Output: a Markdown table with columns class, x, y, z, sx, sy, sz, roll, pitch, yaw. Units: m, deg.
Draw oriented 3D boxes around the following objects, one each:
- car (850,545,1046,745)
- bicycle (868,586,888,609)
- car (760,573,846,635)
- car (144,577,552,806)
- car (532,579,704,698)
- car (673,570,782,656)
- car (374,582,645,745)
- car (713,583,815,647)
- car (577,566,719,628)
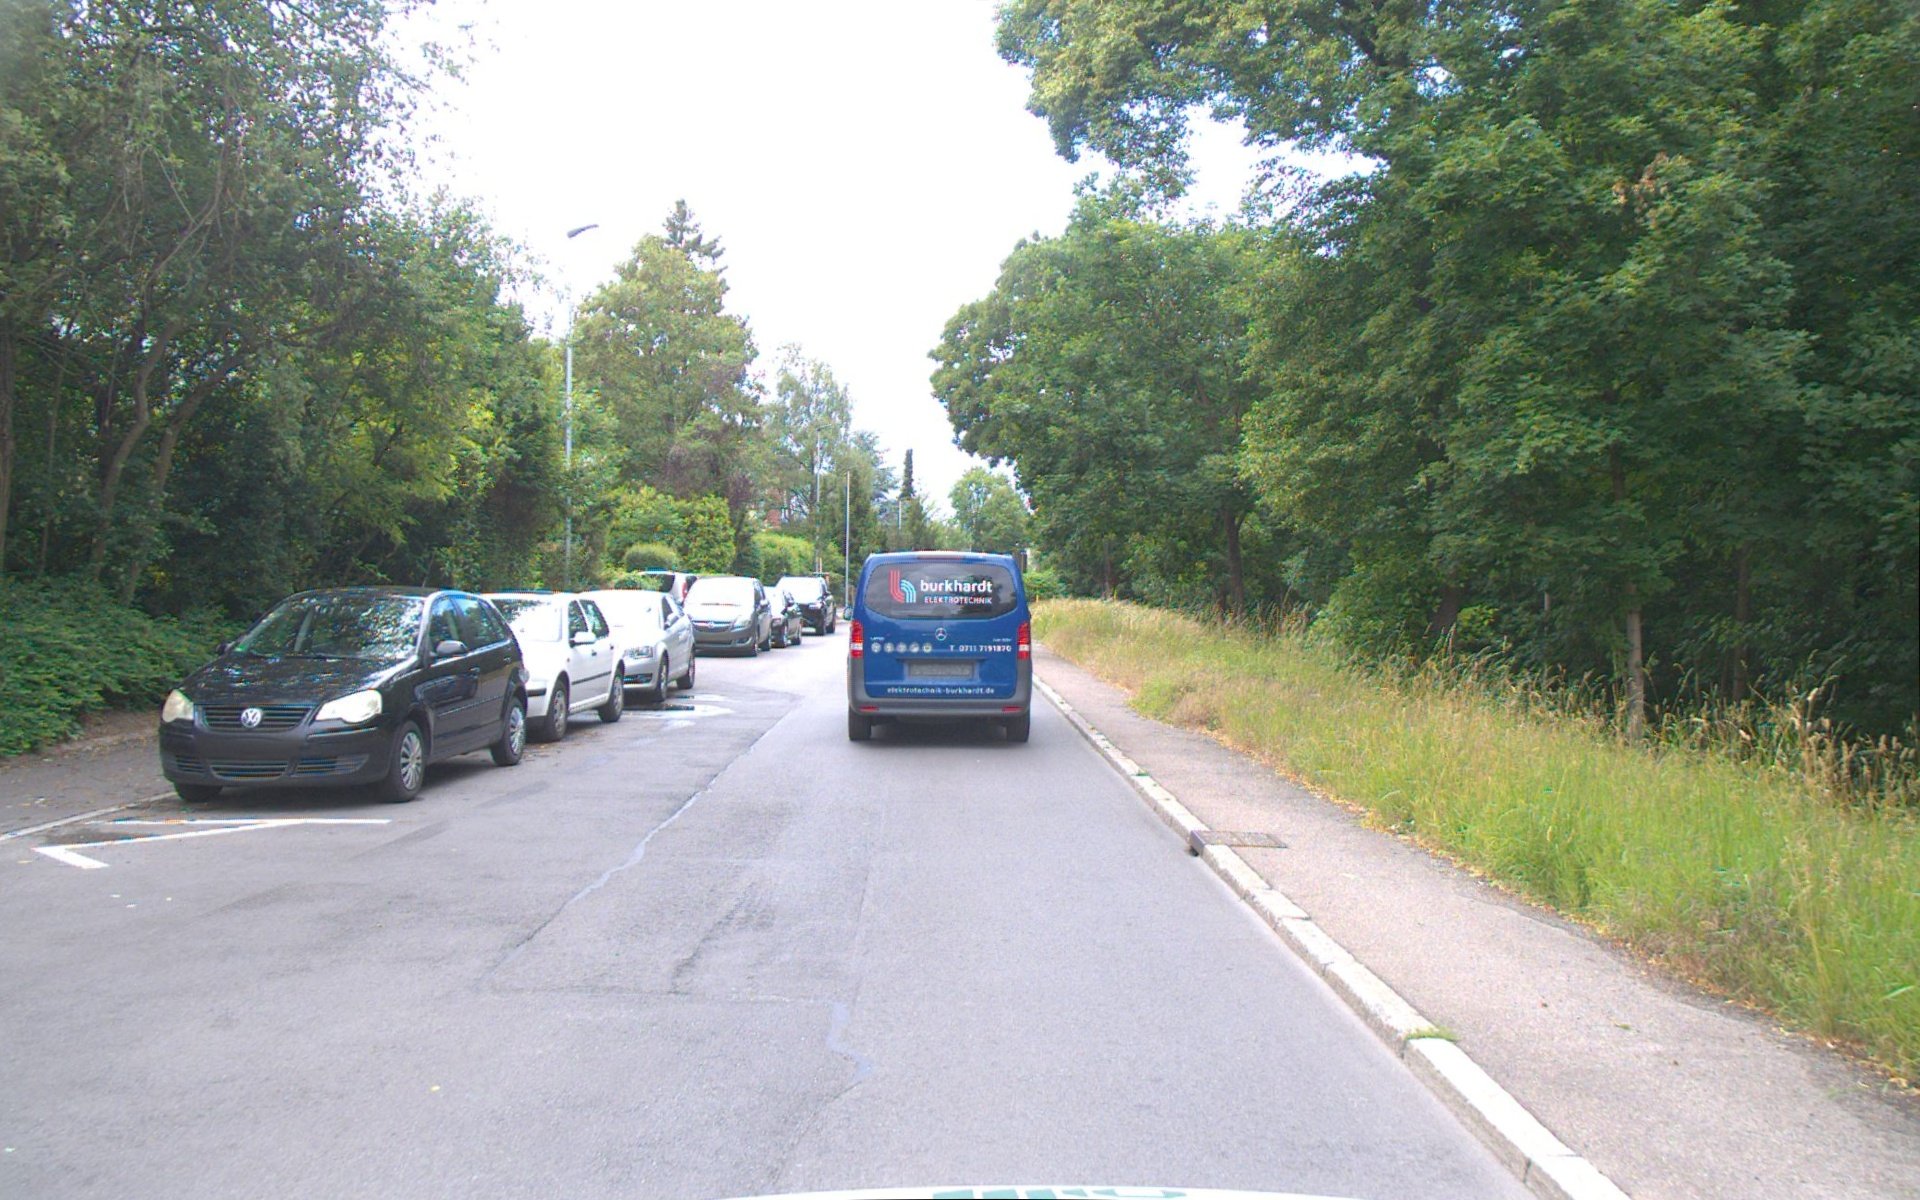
| class | x | y | z | sx | sy | sz | roll | pitch | yaw |
| --- | --- | --- | --- | --- | --- | --- | --- | --- | --- |
| car | -0.239 | 0.356 | 17.650 | 1.851 | 1.876 | 3.998 | 0 | 2 | -4 |
| bicycle | -4.958 | -0.148 | 99.980 | 0.887 | 1.273 | 2.917 | 3 | 0 | 3 |
| car | -4.835 | 0.089 | 51.591 | 1.933 | 1.767 | 5.191 | 2 | 0 | 2 |
| car | -4.453 | 0.579 | 12.696 | 1.589 | 1.475 | 3.970 | 0 | 0 | 1 |
| car | -4.638 | 0.471 | 22.929 | 1.590 | 1.475 | 4.092 | 1 | 1 | -1 |
| car | -4.903 | 0.238 | 35.417 | 1.696 | 1.661 | 4.568 | 2 | 0 | -1 |
| car | -4.563 | 0.562 | 17.414 | 1.625 | 1.478 | 4.382 | 0 | 1 | 0 |
| car | -4.779 | 0.332 | 40.868 | 1.718 | 1.437 | 4.899 | 2 | 0 | 2 |
| car | -9.160 | -0.090 | 48.675 | 3.613 | 1.666 | 1.830 | 2 | 0 | 13 |
